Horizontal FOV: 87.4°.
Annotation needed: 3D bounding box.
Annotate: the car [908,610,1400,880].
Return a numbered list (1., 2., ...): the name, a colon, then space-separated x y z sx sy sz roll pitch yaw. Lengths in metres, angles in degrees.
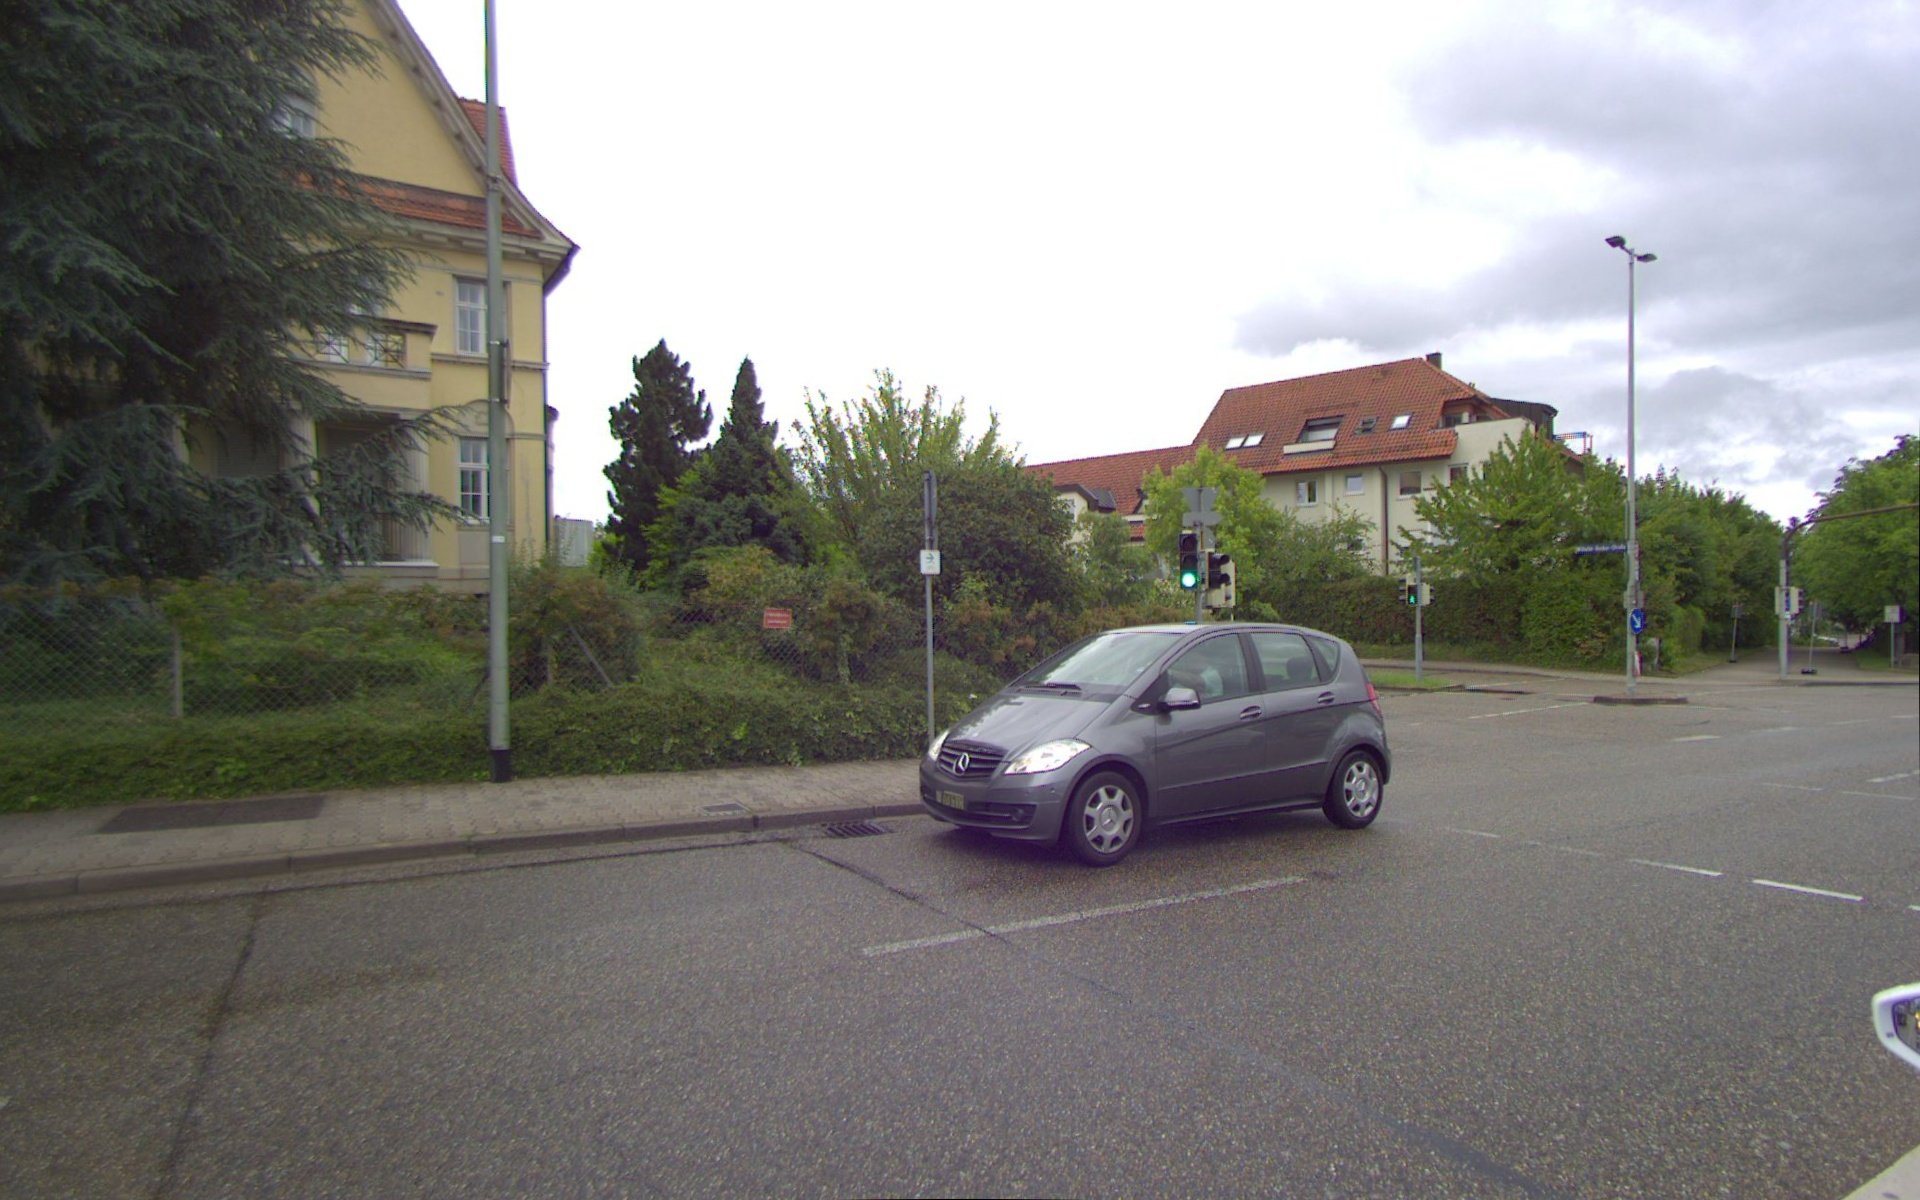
1. car: 1.536 0.945 7.710 3.510 1.620 1.690 1 -3 -32
